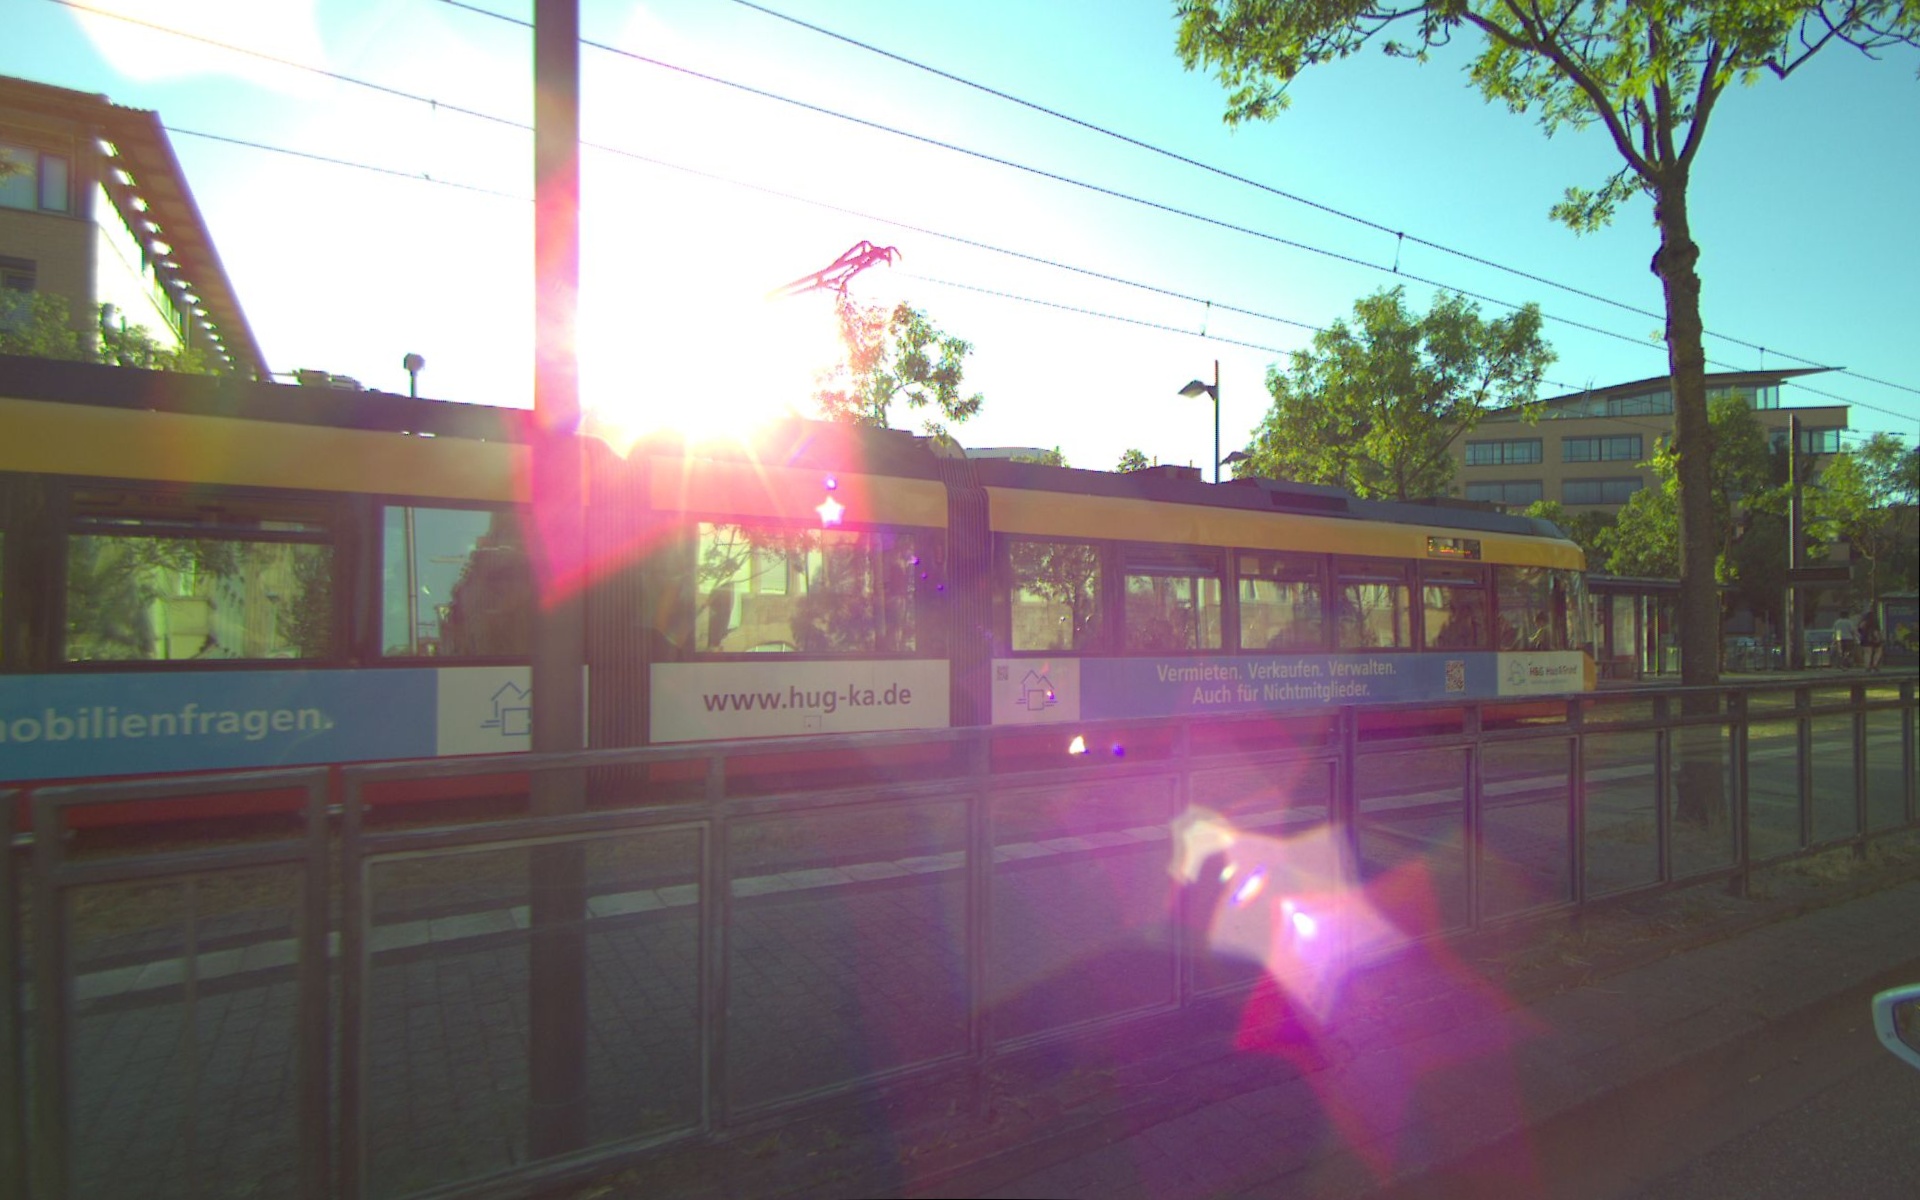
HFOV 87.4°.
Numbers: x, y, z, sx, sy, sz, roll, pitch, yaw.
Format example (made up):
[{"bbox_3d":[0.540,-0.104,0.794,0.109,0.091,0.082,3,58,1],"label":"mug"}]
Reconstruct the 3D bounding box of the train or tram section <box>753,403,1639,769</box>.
[{"bbox_3d":[4.235,0.034,14.240,13.695,3.383,3.415,1,-1,-30],"label":"train or tram section"}]

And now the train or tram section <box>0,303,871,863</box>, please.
[{"bbox_3d":[-8.068,-0.114,6.969,14.851,3.475,3.415,1,-1,-30],"label":"train or tram section"}]

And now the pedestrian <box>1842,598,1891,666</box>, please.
[{"bbox_3d":[27.944,0.980,30.970,1.113,2.040,0.767,1,-1,-28],"label":"pedestrian"}]

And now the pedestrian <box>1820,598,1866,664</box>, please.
[{"bbox_3d":[28.097,0.985,31.961,1.113,2.040,0.767,1,-1,-28],"label":"pedestrian"}]
